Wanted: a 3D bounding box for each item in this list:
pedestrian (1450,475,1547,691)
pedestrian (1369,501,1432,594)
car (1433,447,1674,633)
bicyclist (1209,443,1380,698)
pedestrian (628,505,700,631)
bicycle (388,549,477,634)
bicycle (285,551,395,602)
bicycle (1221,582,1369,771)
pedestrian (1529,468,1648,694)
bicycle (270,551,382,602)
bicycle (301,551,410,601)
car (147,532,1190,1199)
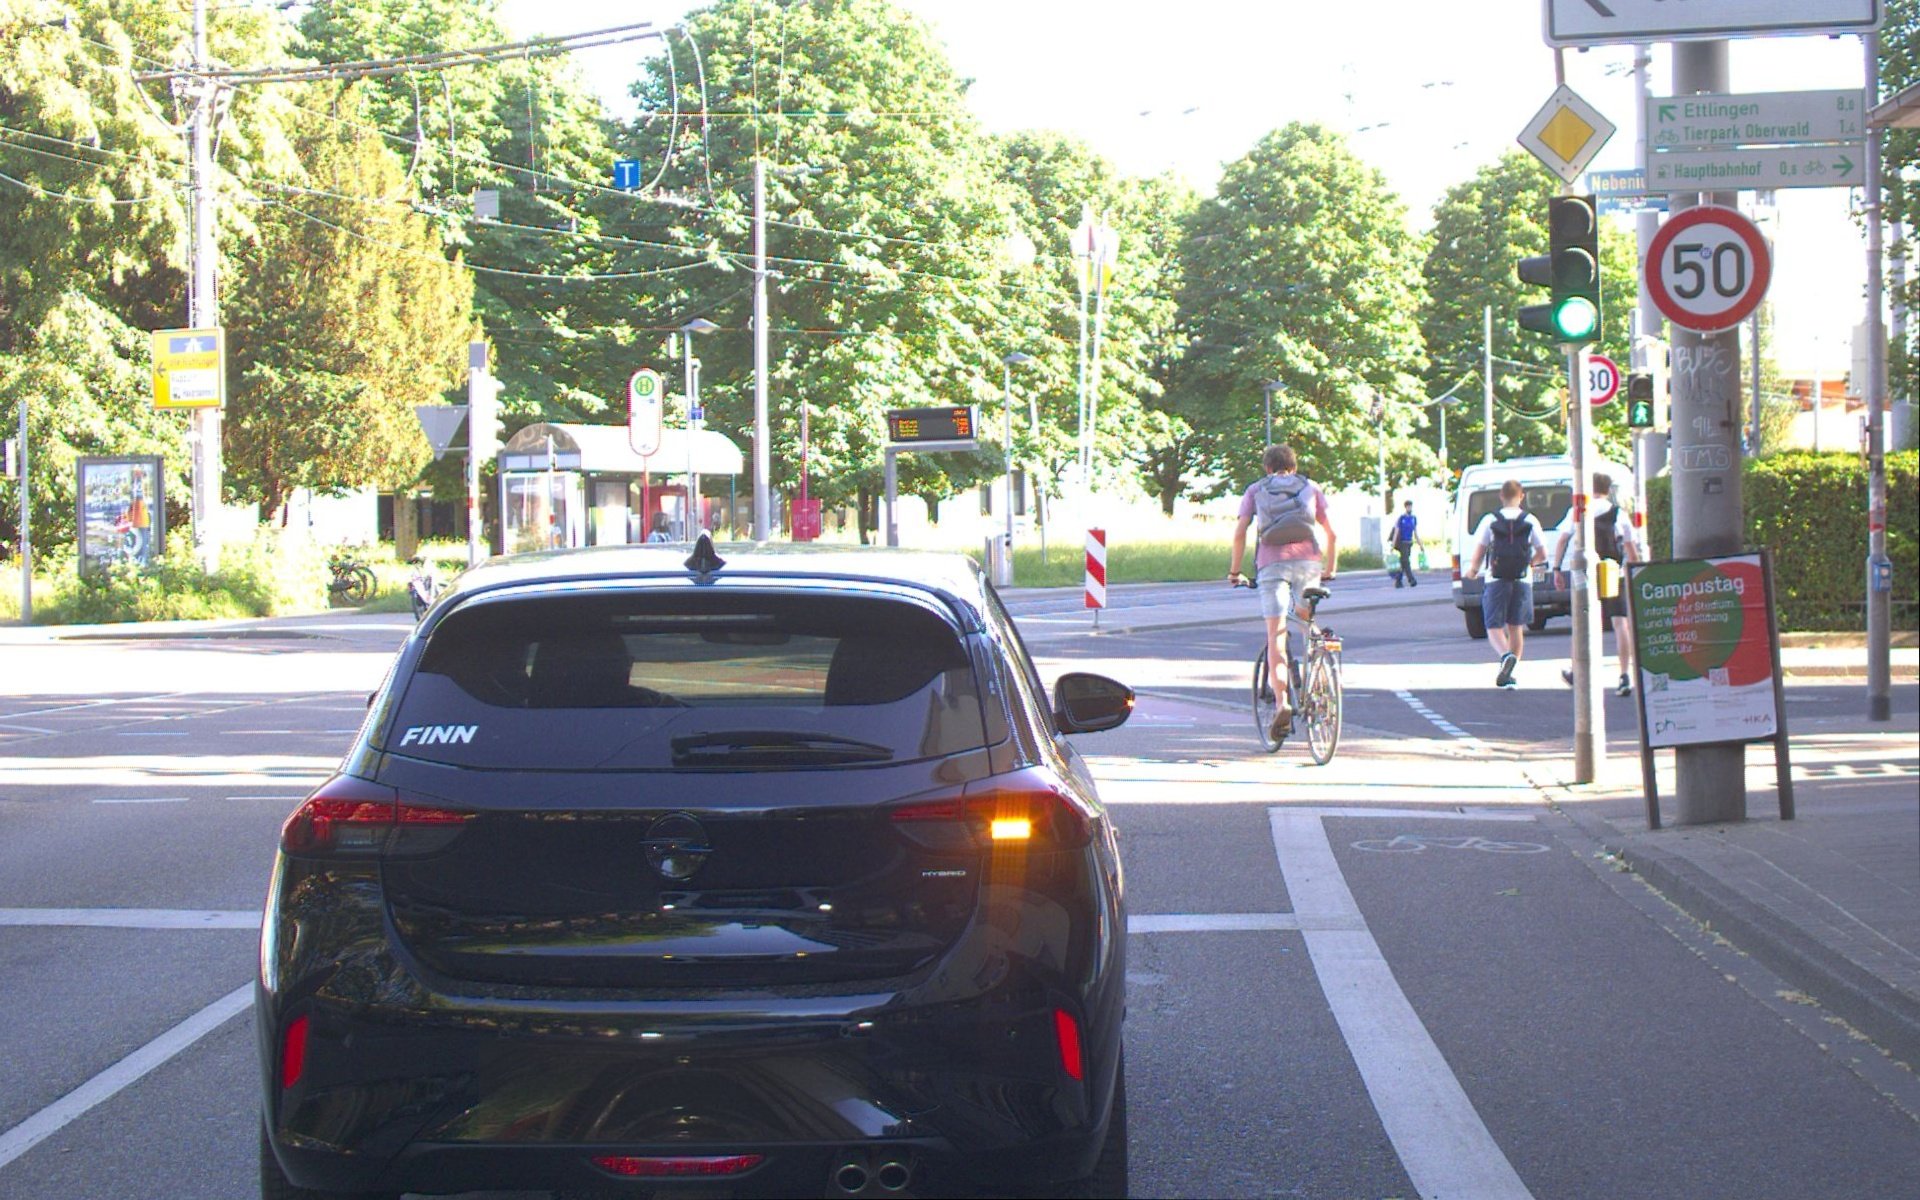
[{"bbox_3d":[4.523,-0.150,28.910,0.698,1.786,0.617,-1,1,-1],"label":"pedestrian"},{"bbox_3d":[8.575,-1.030,66.909,0.959,1.786,0.994,0,1,25],"label":"pedestrian"},{"bbox_3d":[7.722,-0.755,44.453,2.092,2.270,4.301,1,1,23],"label":"car"},{"bbox_3d":[2.029,-0.191,21.030,0.840,1.504,1.369,-1,1,-3],"label":"bicyclist"},{"bbox_3d":[-4.038,-0.444,46.830,0.698,1.687,0.728,-1,1,-33],"label":"pedestrian"},{"bbox_3d":[-6.888,-0.126,44.972,0.825,1.056,1.883,0,1,2],"label":"bicycle"},{"bbox_3d":[-11.381,-0.437,63.134,1.877,0.903,0.659,0,1,7],"label":"bicycle"},{"bbox_3d":[2.036,0.443,21.127,0.667,1.056,2.082,-1,1,-1],"label":"bicycle"},{"bbox_3d":[5.191,-0.166,28.400,0.704,1.840,0.699,0,2,39],"label":"pedestrian"},{"bbox_3d":[-11.459,-0.425,62.148,1.877,0.903,0.659,0,1,7],"label":"bicycle"},{"bbox_3d":[-11.247,-0.456,64.005,1.877,0.903,0.659,0,1,7],"label":"bicycle"},{"bbox_3d":[-0.485,0.581,7.947,1.800,1.436,3.940,-1,1,1],"label":"car"}]
